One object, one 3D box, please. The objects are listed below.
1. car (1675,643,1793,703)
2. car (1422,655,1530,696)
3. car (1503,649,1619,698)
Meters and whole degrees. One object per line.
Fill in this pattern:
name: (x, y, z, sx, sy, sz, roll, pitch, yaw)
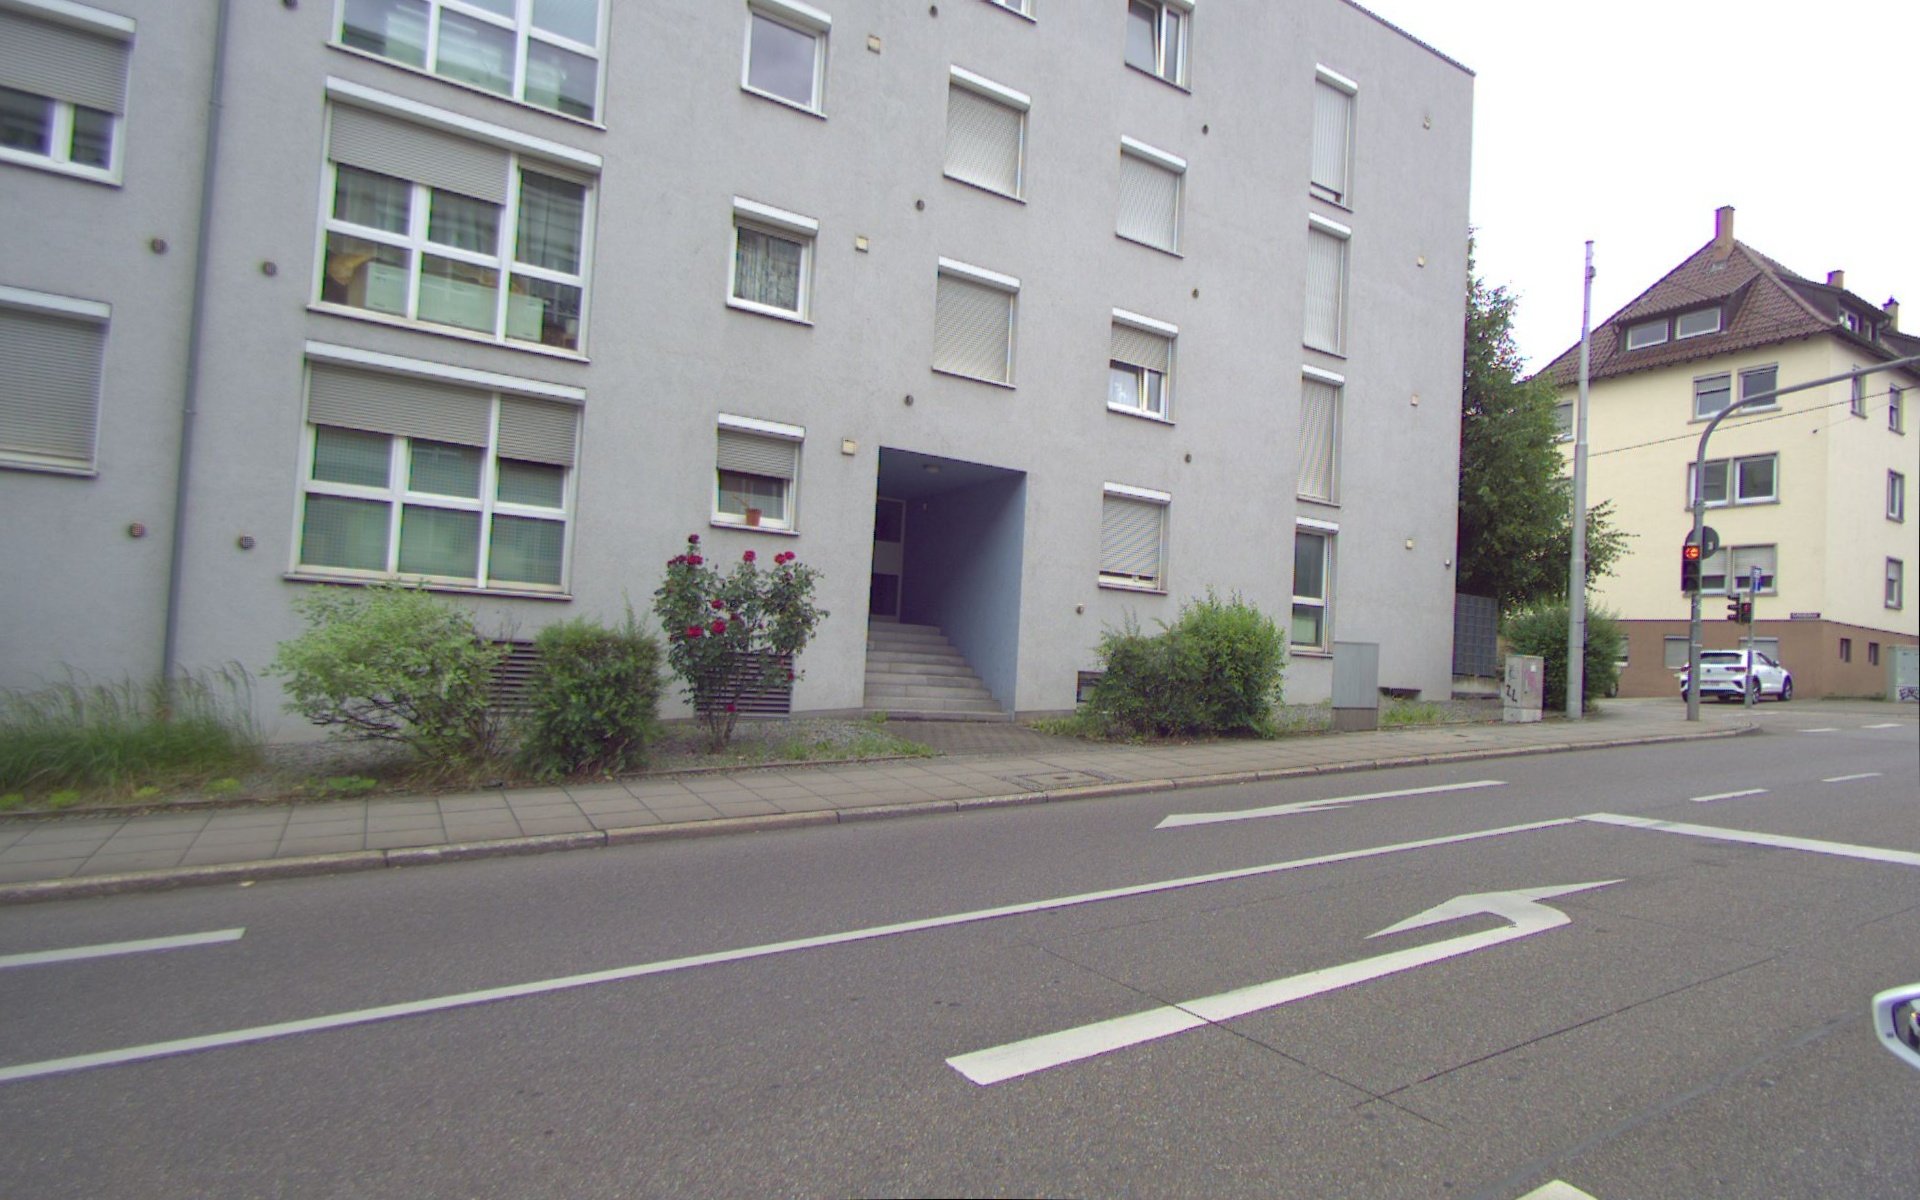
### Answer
car: (23.230, 2.153, 30.119, 3.960, 1.683, 1.660, 2, -4, -35)
car: (18.954, 2.738, 36.875, 3.953, 1.380, 1.662, 2, -1, -30)
car: (20.653, 2.506, 34.493, 4.053, 1.566, 1.662, 2, -4, -30)
